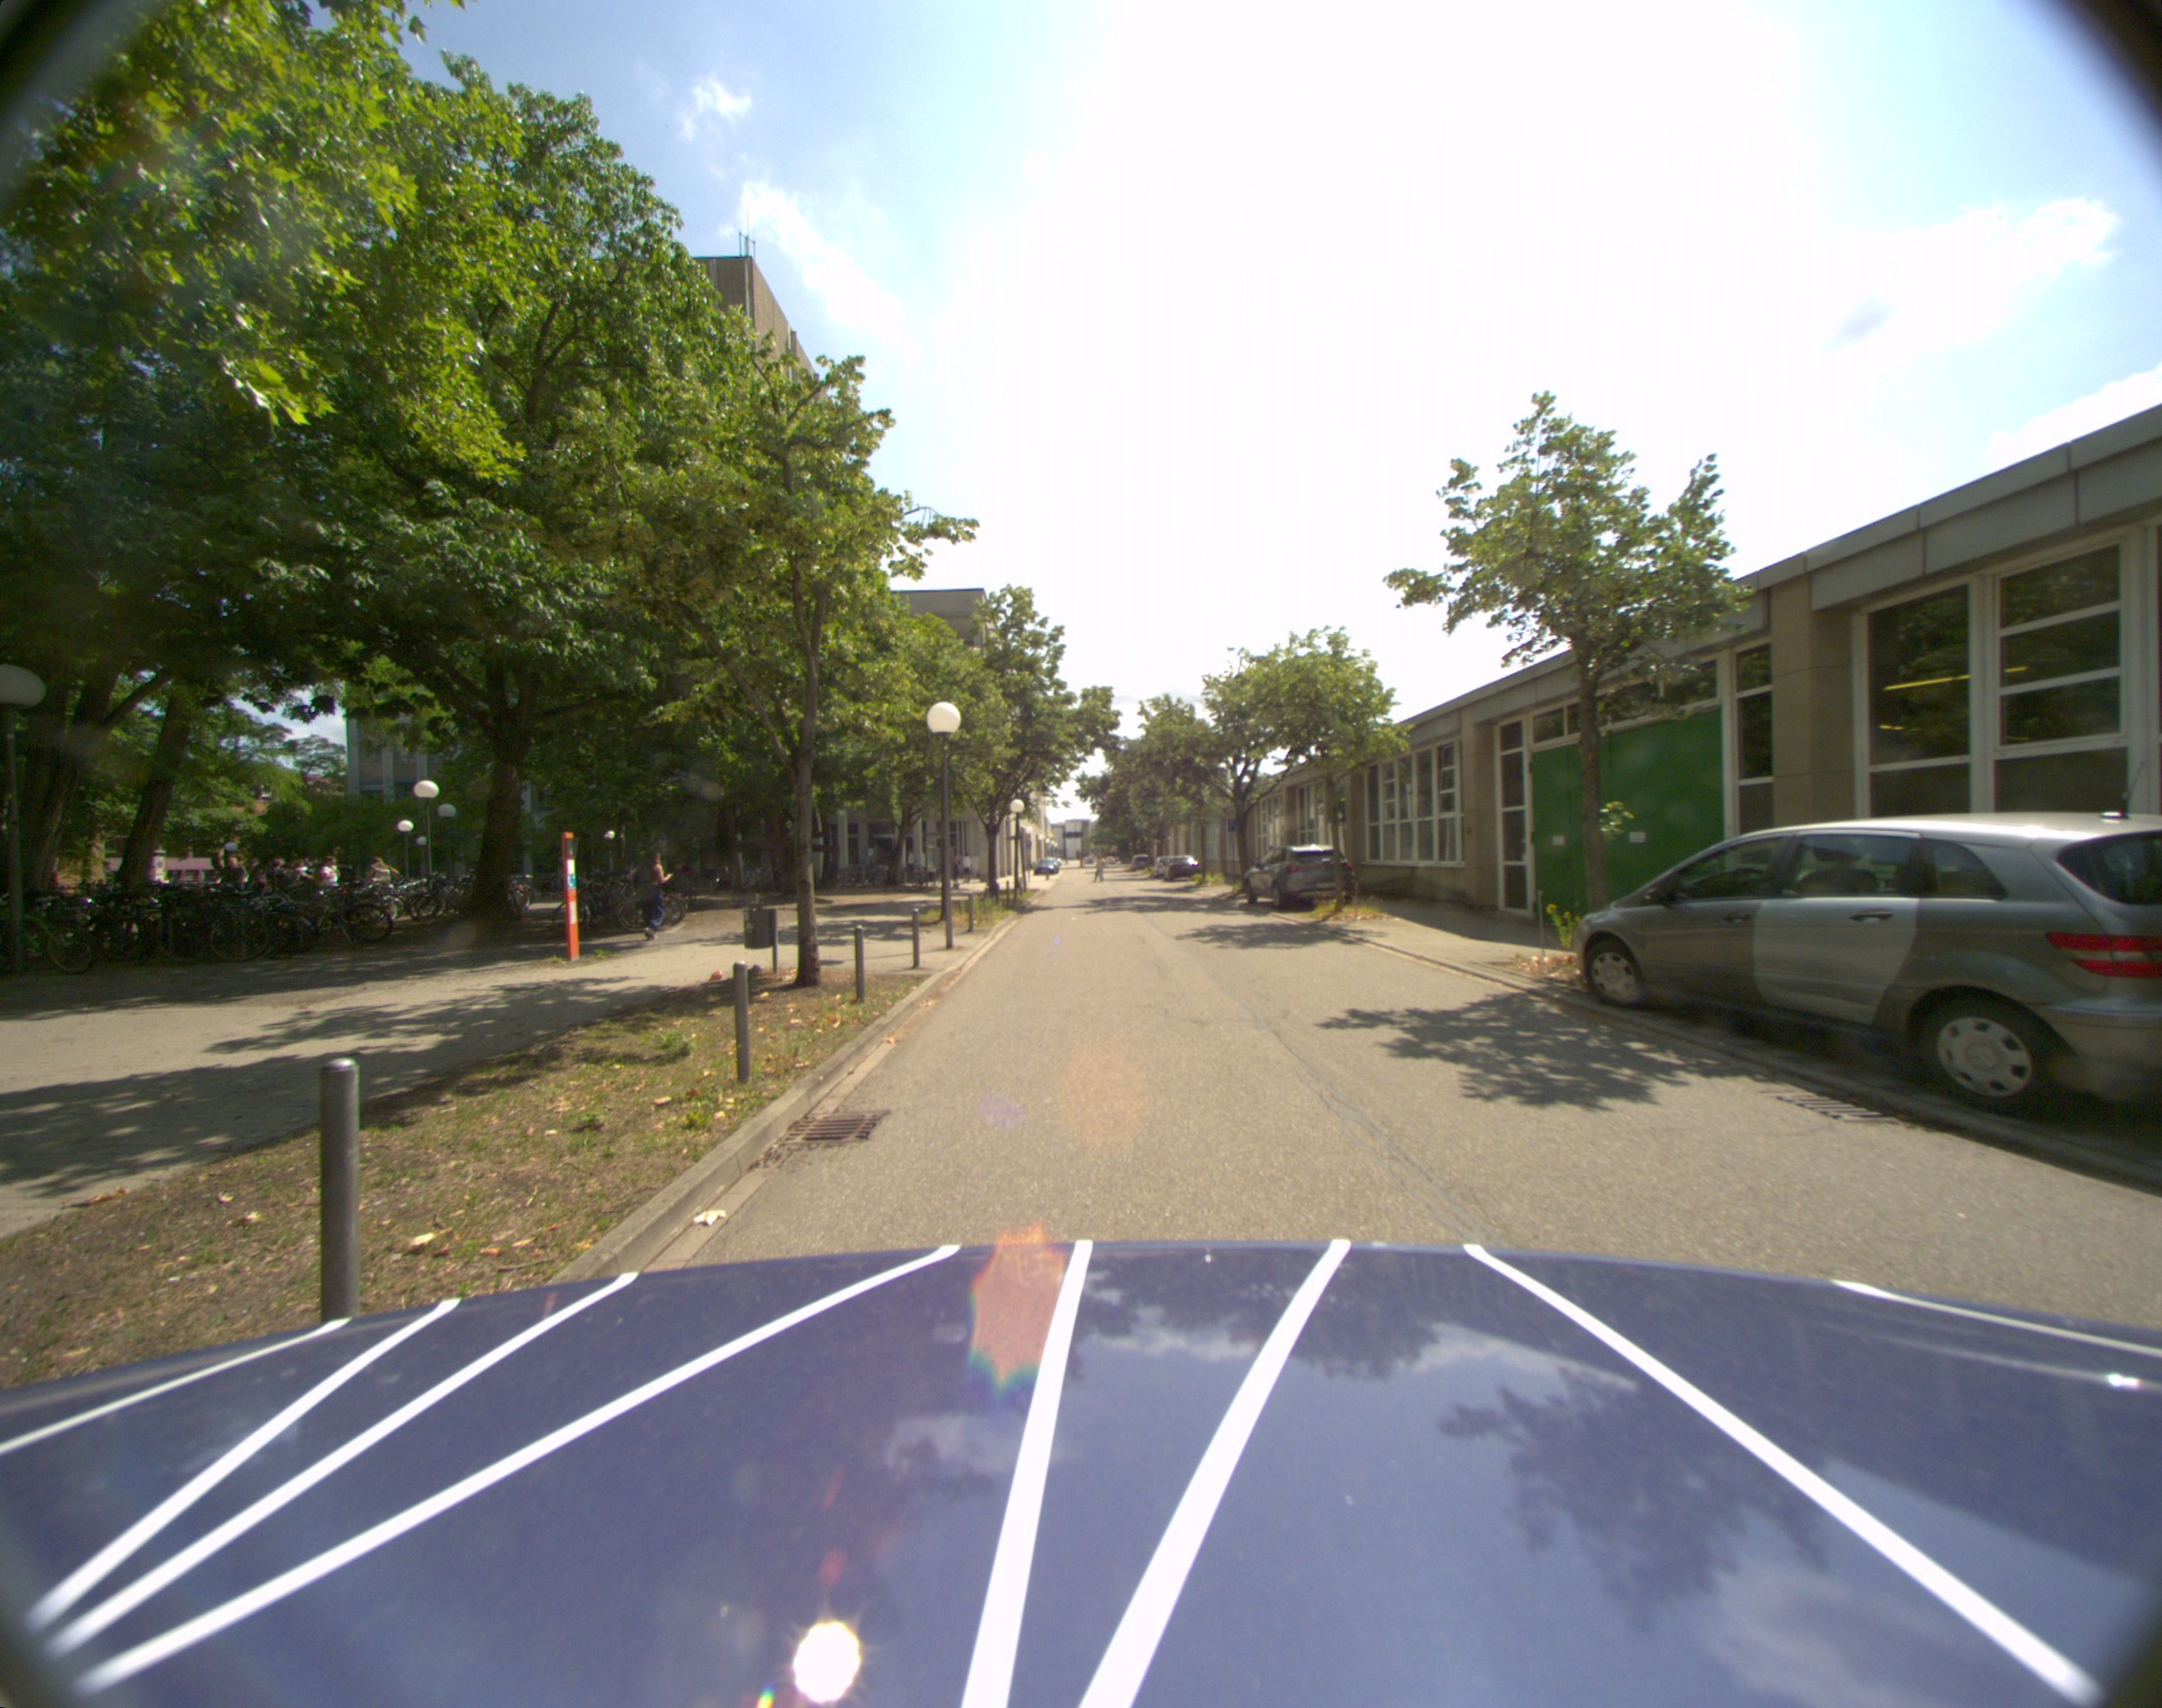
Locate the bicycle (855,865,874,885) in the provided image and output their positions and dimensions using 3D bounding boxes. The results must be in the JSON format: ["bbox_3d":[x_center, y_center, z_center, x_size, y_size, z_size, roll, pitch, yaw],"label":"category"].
[{"bbox_3d":[-11.883,1.161,41.714,0.481,1.079,1.516,0,-1,6],"label":"bicycle"}]

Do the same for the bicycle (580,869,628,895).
[{"bbox_3d":[-22.648,1.322,36.108,1.849,1.163,0.345,-1,0,-45],"label":"bicycle"}]

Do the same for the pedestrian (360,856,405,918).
[{"bbox_3d":[-20.244,0.943,22.028,0.743,1.764,0.722,-1,0,28],"label":"pedestrian"}]

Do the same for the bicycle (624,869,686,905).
[{"bbox_3d":[-14.934,1.144,26.659,1.848,1.163,0.344,-1,0,-34],"label":"bicycle"}]

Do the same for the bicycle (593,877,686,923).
[{"bbox_3d":[-10.698,1.103,18.469,1.916,1.053,0.325,-1,0,-23],"label":"bicycle"}]

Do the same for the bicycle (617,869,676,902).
[{"bbox_3d":[-16.000,1.142,28.013,1.849,1.163,0.344,-1,0,-37],"label":"bicycle"}]

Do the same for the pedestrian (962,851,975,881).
[{"bbox_3d":[-7.208,0.758,48.531,0.687,1.880,0.686,-2,2,-3],"label":"pedestrian"}]

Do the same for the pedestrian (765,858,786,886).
[{"bbox_3d":[-19.263,1.142,47.938,0.747,1.730,0.939,-1,1,24],"label":"pedestrian"}]

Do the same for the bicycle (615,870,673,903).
[{"bbox_3d":[-16.402,1.194,28.566,1.848,1.163,0.344,-1,0,-37],"label":"bicycle"}]

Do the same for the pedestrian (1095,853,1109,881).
[{"bbox_3d":[1.302,0.792,47.698,0.797,1.718,0.601,-1,1,-1],"label":"pedestrian"}]

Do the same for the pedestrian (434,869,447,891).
[{"bbox_3d":[-36.400,1.478,43.167,0.402,1.205,0.387,-1,0,8],"label":"pedestrian"}]

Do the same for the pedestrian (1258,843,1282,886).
[{"bbox_3d":[7.986,0.437,32.196,0.790,1.776,0.670,-3,0,3],"label":"pedestrian"}]

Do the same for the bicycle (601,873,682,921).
[{"bbox_3d":[-11.326,1.085,19.597,1.742,1.148,0.493,-1,0,-36],"label":"bicycle"}]

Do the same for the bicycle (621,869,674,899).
[{"bbox_3d":[-18.074,1.233,31.697,1.848,1.163,0.387,-1,0,-37],"label":"bicycle"}]

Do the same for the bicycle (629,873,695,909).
[{"bbox_3d":[-13.356,1.157,24.267,1.796,1.063,0.425,-1,0,-28],"label":"bicycle"}]

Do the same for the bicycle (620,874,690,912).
[{"bbox_3d":[-12.724,1.151,22.737,1.796,1.063,0.425,-1,0,-30],"label":"bicycle"}]

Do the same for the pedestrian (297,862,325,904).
[{"bbox_3d":[-32.643,1.217,32.209,0.719,1.764,0.746,-1,0,38],"label":"pedestrian"}]

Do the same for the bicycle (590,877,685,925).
[{"bbox_3d":[-10.589,1.102,18.178,1.916,1.053,0.325,-1,0,-23],"label":"bicycle"}]

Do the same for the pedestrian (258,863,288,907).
[{"bbox_3d":[-33.199,1.261,31.212,0.719,1.764,0.746,-1,0,38],"label":"pedestrian"}]

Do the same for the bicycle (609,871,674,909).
[{"bbox_3d":[-14.385,1.175,24.883,1.796,1.163,0.401,-1,0,-34],"label":"bicycle"}]

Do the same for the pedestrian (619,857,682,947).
[{"bbox_3d":[-7.765,0.841,13.740,0.570,1.562,0.927,0,1,1],"label":"pedestrian"}]

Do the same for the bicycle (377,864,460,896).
[{"bbox_3d":[-20.833,0.800,23.929,1.907,0.973,0.378,0,1,-30],"label":"bicycle"}]

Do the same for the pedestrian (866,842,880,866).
[{"bbox_3d":[-15.905,-0.025,58.052,0.618,1.786,0.811,-1,1,32],"label":"pedestrian"}]

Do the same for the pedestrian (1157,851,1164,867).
[{"bbox_3d":[8.133,0.503,77.646,0.605,1.571,0.551,1,0,-2],"label":"pedestrian"}]

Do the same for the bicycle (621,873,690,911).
[{"bbox_3d":[-12.940,1.150,23.120,1.796,1.063,0.425,-1,0,-30],"label":"bicycle"}]

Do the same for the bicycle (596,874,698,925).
[{"bbox_3d":[-9.866,1.028,17.318,1.950,1.076,0.404,-1,0,-12],"label":"bicycle"}]

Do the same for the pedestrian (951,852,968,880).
[{"bbox_3d":[-7.930,0.785,49.675,0.811,1.786,0.618,-2,1,-43],"label":"pedestrian"}]

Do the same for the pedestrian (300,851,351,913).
[{"bbox_3d":[-22.078,0.811,22.219,0.745,1.764,0.720,-1,0,-8],"label":"pedestrian"}]

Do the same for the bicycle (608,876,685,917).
[{"bbox_3d":[-11.814,1.147,20.696,1.800,1.022,0.439,-1,0,-32],"label":"bicycle"}]

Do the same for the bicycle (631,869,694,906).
[{"bbox_3d":[-14.077,1.118,25.577,1.796,1.163,0.401,-1,0,-34],"label":"bicycle"}]

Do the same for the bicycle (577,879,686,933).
[{"bbox_3d":[-9.574,1.103,16.218,1.950,1.076,0.404,-1,0,-12],"label":"bicycle"}]

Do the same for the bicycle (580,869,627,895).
[{"bbox_3d":[-22.473,1.307,35.793,1.849,1.163,0.345,-1,0,-45],"label":"bicycle"}]

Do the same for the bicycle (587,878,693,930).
[{"bbox_3d":[-9.631,1.083,16.646,1.950,1.076,0.404,-1,0,-12],"label":"bicycle"}]

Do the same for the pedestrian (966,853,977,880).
[{"bbox_3d":[-7.173,0.809,49.727,0.614,1.719,0.542,-1,1,1],"label":"pedestrian"}]

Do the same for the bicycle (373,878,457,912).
[{"bbox_3d":[-20.596,1.258,23.535,1.907,0.973,0.378,0,1,-30],"label":"bicycle"}]

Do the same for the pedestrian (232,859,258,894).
[{"bbox_3d":[-36.546,0.961,33.207,0.693,1.503,0.513,2,0,-43],"label":"pedestrian"}]

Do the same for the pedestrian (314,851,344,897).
[{"bbox_3d":[-29.499,0.794,29.821,0.746,1.764,0.719,-1,0,-40],"label":"pedestrian"}]

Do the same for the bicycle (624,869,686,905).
[{"bbox_3d":[-14.754,1.121,26.355,1.848,1.163,0.344,-1,0,-34],"label":"bicycle"}]

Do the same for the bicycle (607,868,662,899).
[{"bbox_3d":[-17.813,1.177,30.316,1.848,1.163,0.352,-1,0,-37],"label":"bicycle"}]

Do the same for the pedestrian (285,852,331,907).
[{"bbox_3d":[-25.487,0.828,25.059,0.745,1.764,0.720,-1,0,-8],"label":"pedestrian"}]

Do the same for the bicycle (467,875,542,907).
[{"bbox_3d":[-18.822,1.194,24.859,1.907,0.973,0.378,0,1,-30],"label":"bicycle"}]

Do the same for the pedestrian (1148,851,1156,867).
[{"bbox_3d":[7.300,0.531,77.851,0.604,1.571,0.552,0,0,31],"label":"pedestrian"}]

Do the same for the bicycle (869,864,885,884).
[{"bbox_3d":[-11.150,1.078,41.590,0.460,1.079,1.474,0,-1,1],"label":"bicycle"}]

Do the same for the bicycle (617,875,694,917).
[{"bbox_3d":[-11.408,1.107,20.393,1.742,1.046,0.493,-1,0,-36],"label":"bicycle"}]

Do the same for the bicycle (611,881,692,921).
[{"bbox_3d":[-10.873,1.177,19.280,1.741,0.904,0.493,-1,0,-29],"label":"bicycle"}]

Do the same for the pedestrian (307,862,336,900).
[{"bbox_3d":[-35.646,1.258,35.653,0.719,1.764,0.746,-1,0,26],"label":"pedestrian"}]

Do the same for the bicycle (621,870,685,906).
[{"bbox_3d":[-14.632,1.136,25.990,1.848,1.163,0.401,-1,0,-34],"label":"bicycle"}]

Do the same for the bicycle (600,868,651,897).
[{"bbox_3d":[-19.606,1.211,32.720,1.849,1.163,0.412,-1,0,-39],"label":"bicycle"}]

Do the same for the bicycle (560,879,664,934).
[{"bbox_3d":[-9.731,1.077,15.802,1.773,1.076,0.438,-1,0,-12],"label":"bicycle"}]

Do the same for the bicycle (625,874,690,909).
[{"bbox_3d":[-13.780,1.195,24.737,1.796,1.063,0.425,-1,0,-36],"label":"bicycle"}]

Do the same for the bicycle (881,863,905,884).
[{"bbox_3d":[-10.210,1.056,41.331,0.491,1.134,1.529,0,-1,20],"label":"bicycle"}]

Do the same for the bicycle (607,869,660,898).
[{"bbox_3d":[-19.020,1.254,32.319,1.849,1.163,0.412,-1,0,-39],"label":"bicycle"}]

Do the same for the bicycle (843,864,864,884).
[{"bbox_3d":[-12.377,1.072,41.430,0.481,1.079,1.697,0,-1,6],"label":"bicycle"}]

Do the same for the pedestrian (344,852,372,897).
[{"bbox_3d":[-28.889,0.823,30.355,0.746,1.764,0.719,-1,0,-40],"label":"pedestrian"}]

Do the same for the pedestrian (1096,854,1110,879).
[{"bbox_3d":[1.341,0.783,46.987,0.797,1.533,0.664,-1,1,-1],"label":"pedestrian"}]

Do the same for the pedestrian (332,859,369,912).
[{"bbox_3d":[-25.197,1.072,26.217,0.746,1.764,0.719,-1,0,-31],"label":"pedestrian"}]

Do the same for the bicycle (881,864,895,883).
[{"bbox_3d":[-10.648,1.078,41.955,0.460,1.079,1.440,0,-1,-2],"label":"bicycle"}]

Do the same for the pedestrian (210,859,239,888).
[{"bbox_3d":[-46.235,1.033,41.026,0.720,1.560,0.745,-1,0,8],"label":"pedestrian"}]
